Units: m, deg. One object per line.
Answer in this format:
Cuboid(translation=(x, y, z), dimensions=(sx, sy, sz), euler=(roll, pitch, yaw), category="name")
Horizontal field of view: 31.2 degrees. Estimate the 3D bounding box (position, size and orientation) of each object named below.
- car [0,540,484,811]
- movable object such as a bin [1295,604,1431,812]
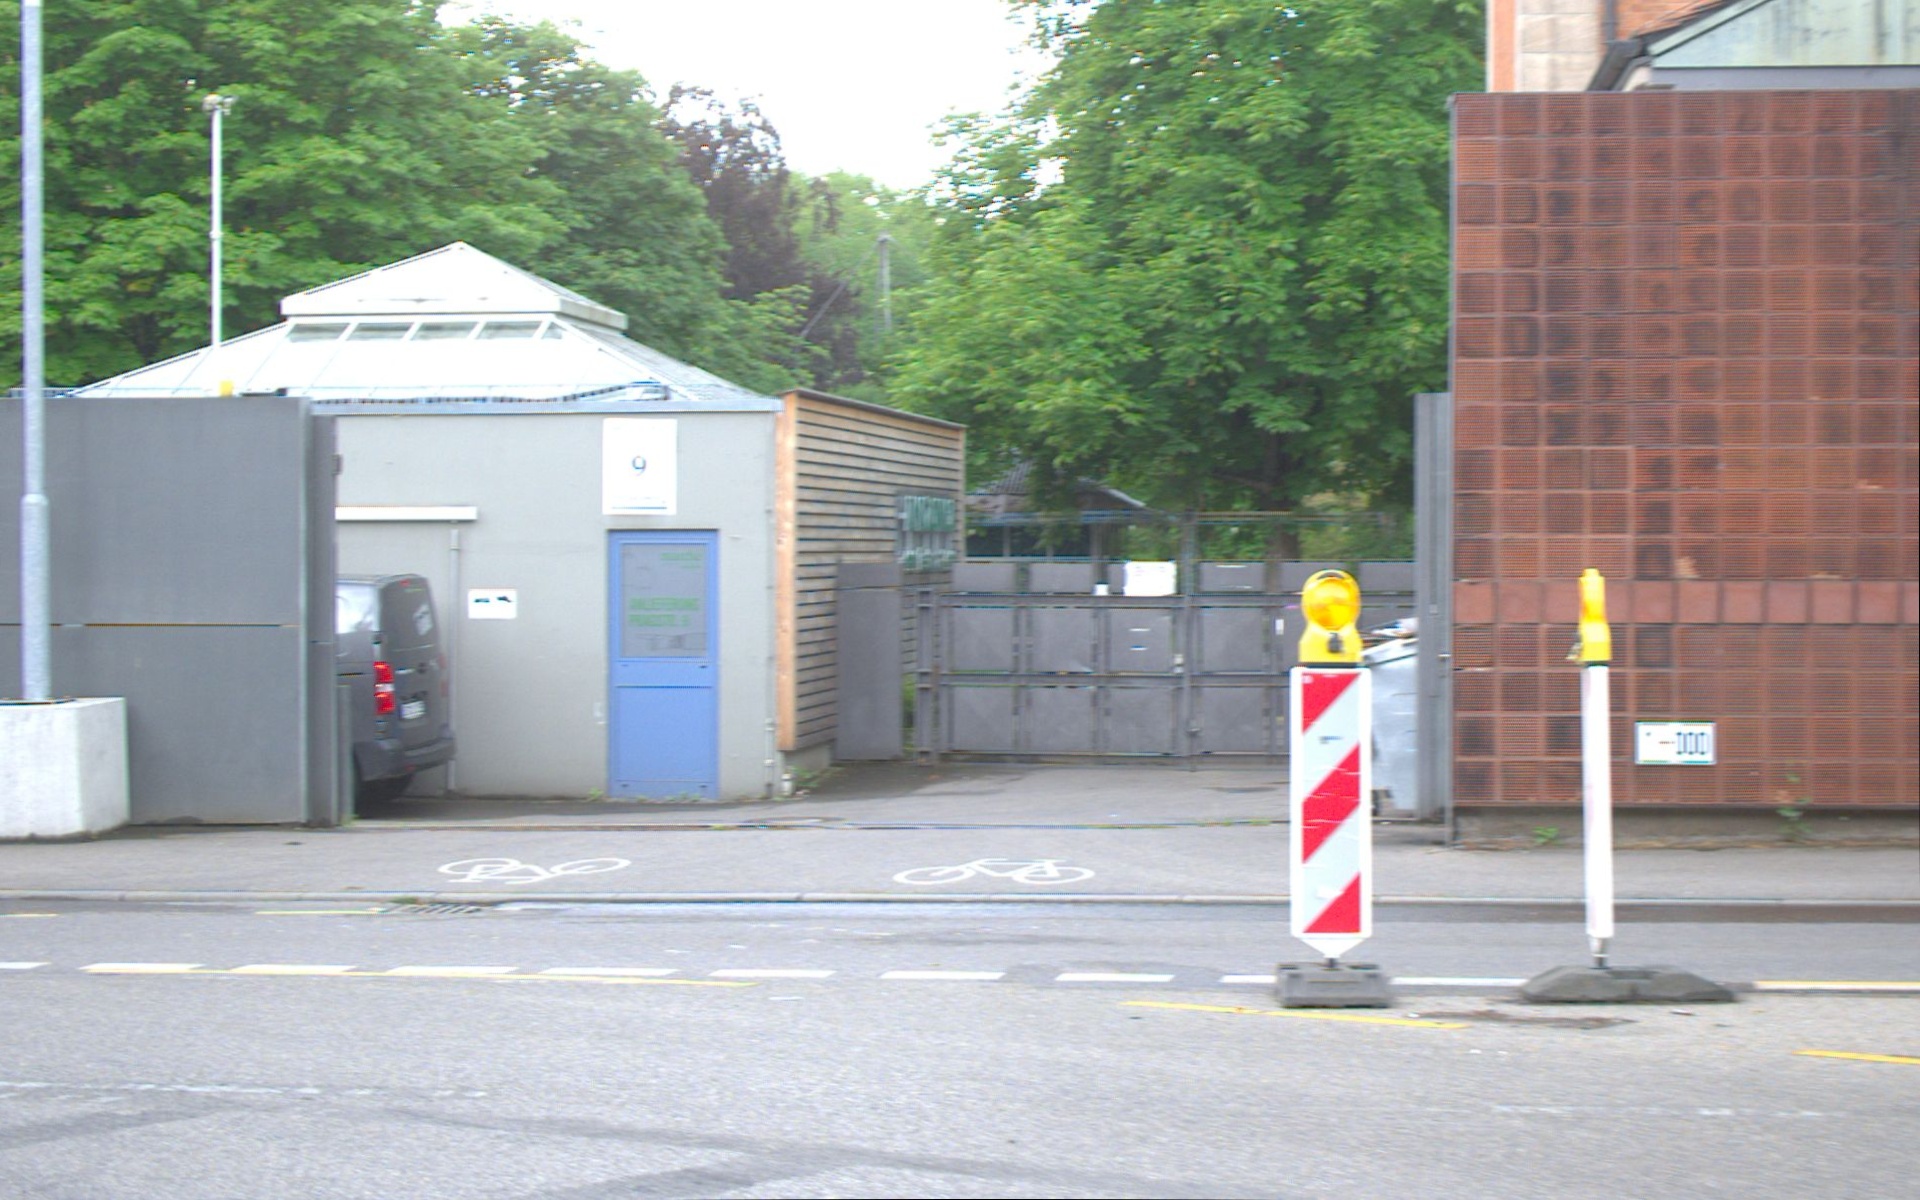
Cuboid(translation=(-6.336, 0.578, 28.076), dimensions=(4.445, 2.077, 2.104), euler=(1, 0, 7), category="car")
Cuboid(translation=(2.661, 0.700, 22.644), dimensions=(0.848, 1.336, 0.800), euler=(-1, 0, 9), category="movable object such as a bin")
